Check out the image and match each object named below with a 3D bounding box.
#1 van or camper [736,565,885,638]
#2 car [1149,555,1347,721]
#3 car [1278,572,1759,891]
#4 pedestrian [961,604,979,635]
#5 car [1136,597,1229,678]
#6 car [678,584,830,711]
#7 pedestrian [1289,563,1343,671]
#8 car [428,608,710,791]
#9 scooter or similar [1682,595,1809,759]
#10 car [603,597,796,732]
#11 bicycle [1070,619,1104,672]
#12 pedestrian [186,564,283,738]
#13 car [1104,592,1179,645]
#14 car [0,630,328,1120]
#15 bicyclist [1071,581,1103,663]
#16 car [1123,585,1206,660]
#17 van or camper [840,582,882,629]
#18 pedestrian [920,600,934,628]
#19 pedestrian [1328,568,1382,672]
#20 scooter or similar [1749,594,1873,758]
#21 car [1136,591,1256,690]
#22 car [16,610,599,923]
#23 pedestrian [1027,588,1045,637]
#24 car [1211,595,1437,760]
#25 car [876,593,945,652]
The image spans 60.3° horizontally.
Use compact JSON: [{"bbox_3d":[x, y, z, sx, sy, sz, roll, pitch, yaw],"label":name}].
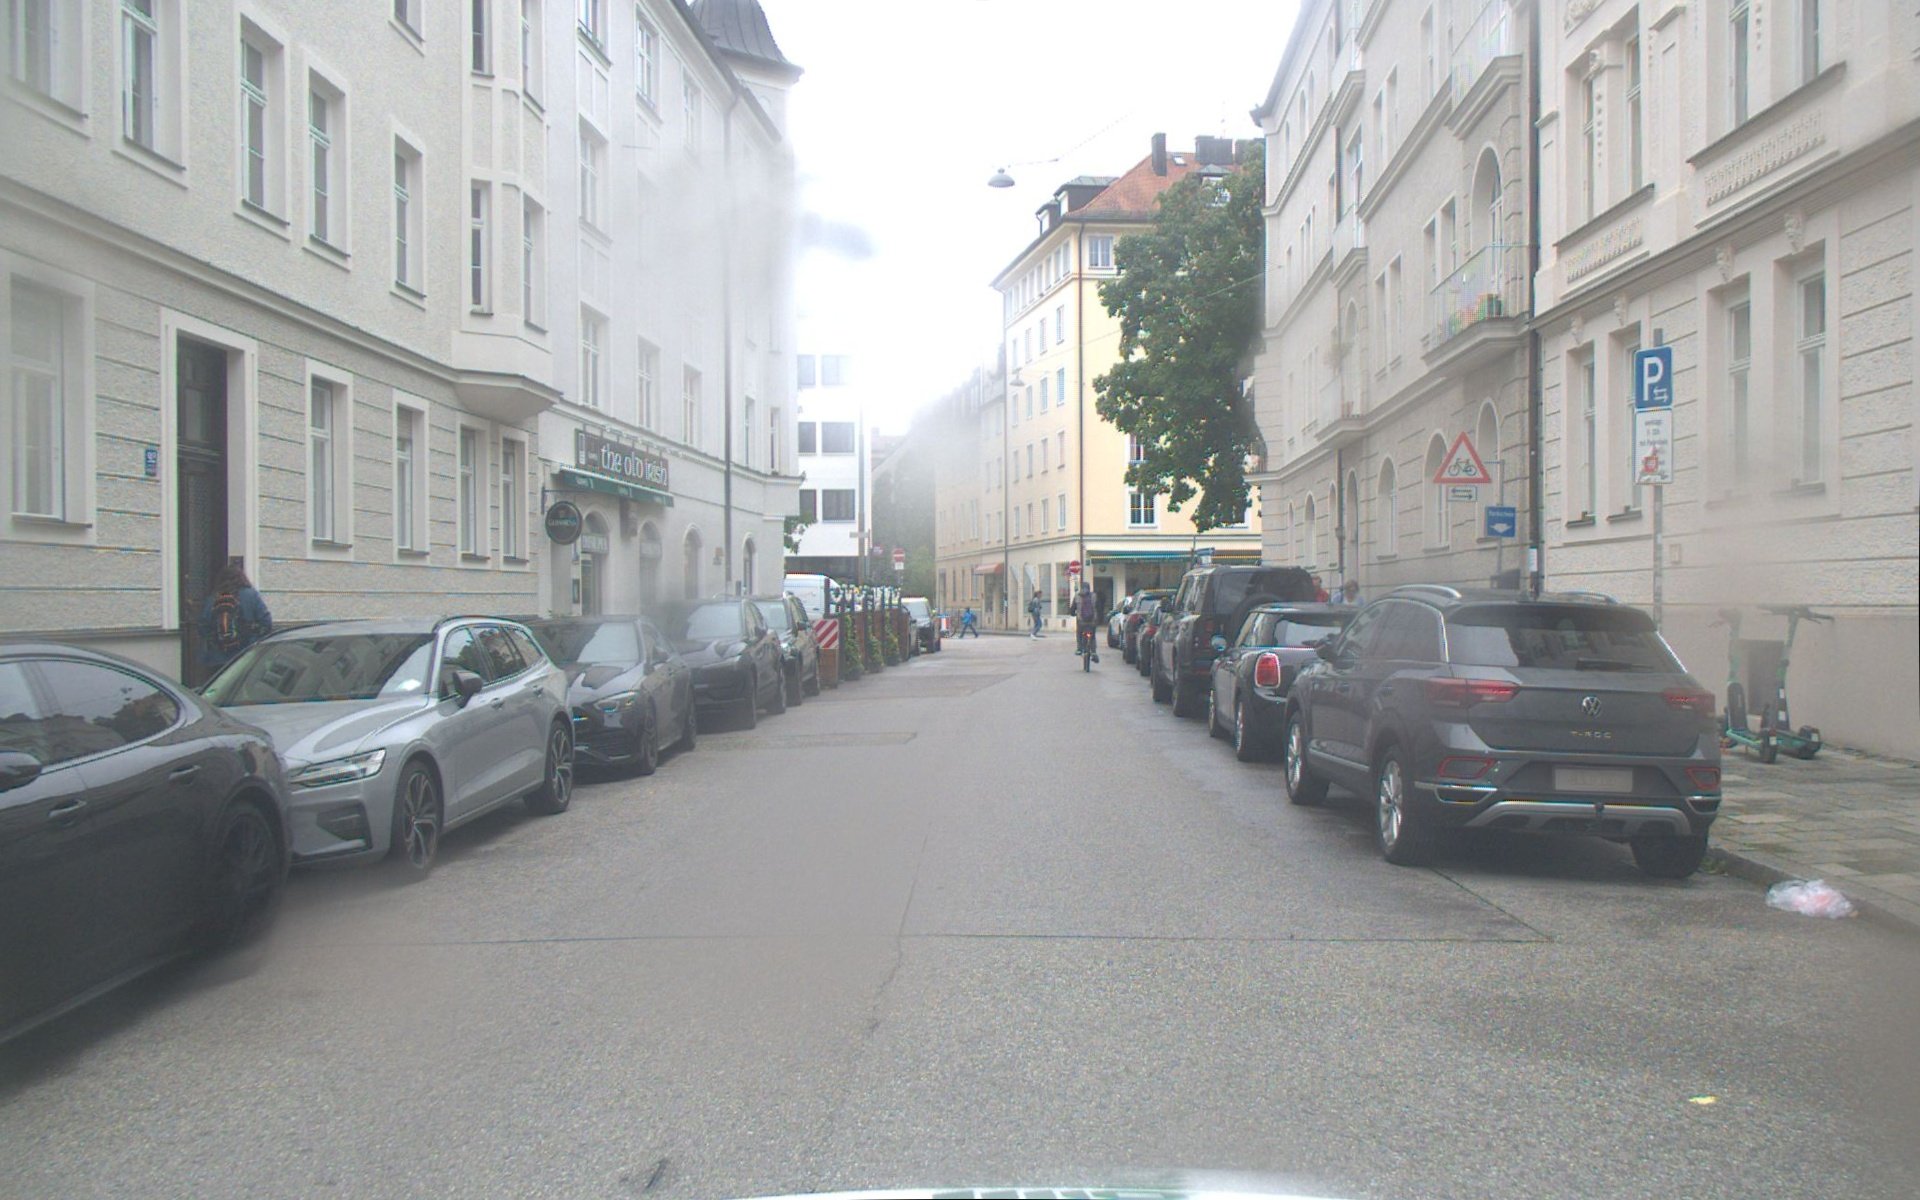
[{"bbox_3d":[-5.940,0.081,65.817,5.792,2.724,1.870,-1,-2,-7],"label":"van or camper"},{"bbox_3d":[3.689,0.447,21.991,1.871,1.918,4.715,1,0,1],"label":"car"},{"bbox_3d":[3.254,0.659,10.494,1.672,1.615,4.000,1,0,0],"label":"car"},{"bbox_3d":[0.423,0.822,70.799,0.684,1.292,0.651,-1,0,6],"label":"pedestrian"},{"bbox_3d":[4.473,0.713,33.725,1.670,1.496,4.203,-1,0,5],"label":"car"},{"bbox_3d":[-3.120,0.664,25.800,1.710,1.702,4.276,-4,0,0],"label":"car"},{"bbox_3d":[5.916,0.275,27.499,0.689,1.758,0.703,-2,0,-1],"label":"pedestrian"},{"bbox_3d":[-3.592,0.837,16.023,1.774,1.409,4.442,-2,0,-2],"label":"car"},{"bbox_3d":[6.726,0.631,14.233,0.529,1.310,1.505,-3,0,9],"label":"scooter or similar"},{"bbox_3d":[-3.190,0.735,21.046,1.706,1.513,4.181,-1,0,1],"label":"car"},{"bbox_3d":[2.592,0.917,33.627,0.625,1.022,1.575,-1,0,6],"label":"bicycle"},{"bbox_3d":[-7.405,0.510,16.905,0.683,1.737,0.665,0,0,-1],"label":"pedestrian"},{"bbox_3d":[5.404,0.539,49.593,1.715,1.522,3.909,0,0,-1],"label":"car"},{"bbox_3d":[-3.762,0.855,5.171,1.812,1.391,4.701,-1,0,-1],"label":"car"},{"bbox_3d":[2.586,0.433,33.661,0.593,1.635,0.758,-1,0,6],"label":"bicyclist"},{"bbox_3d":[4.767,0.487,39.004,1.740,1.664,4.377,0,0,4],"label":"car"},{"bbox_3d":[-5.672,0.296,93.907,1.956,2.584,4.751,-1,0,-8],"label":"van or camper"},{"bbox_3d":[-2.196,0.928,110.228,0.861,1.809,0.772,-1,0,-9],"label":"pedestrian"},{"bbox_3d":[6.672,0.332,27.980,0.666,1.703,0.654,-3,0,-1],"label":"pedestrian"},{"bbox_3d":[7.242,0.614,14.134,0.496,1.310,1.352,-3,0,10],"label":"scooter or similar"},{"bbox_3d":[3.922,0.636,27.922,1.620,1.552,3.638,0,0,2],"label":"car"},{"bbox_3d":[-3.768,0.849,10.546,1.757,1.444,4.511,-4,0,1],"label":"car"},{"bbox_3d":[2.669,0.427,58.036,0.598,1.690,0.551,-1,0,6],"label":"pedestrian"},{"bbox_3d":[3.478,0.681,16.389,1.629,1.420,3.583,1,0,3],"label":"car"},{"bbox_3d":[-1.438,0.649,49.349,1.641,1.625,3.946,-3,0,3],"label":"car"}]
